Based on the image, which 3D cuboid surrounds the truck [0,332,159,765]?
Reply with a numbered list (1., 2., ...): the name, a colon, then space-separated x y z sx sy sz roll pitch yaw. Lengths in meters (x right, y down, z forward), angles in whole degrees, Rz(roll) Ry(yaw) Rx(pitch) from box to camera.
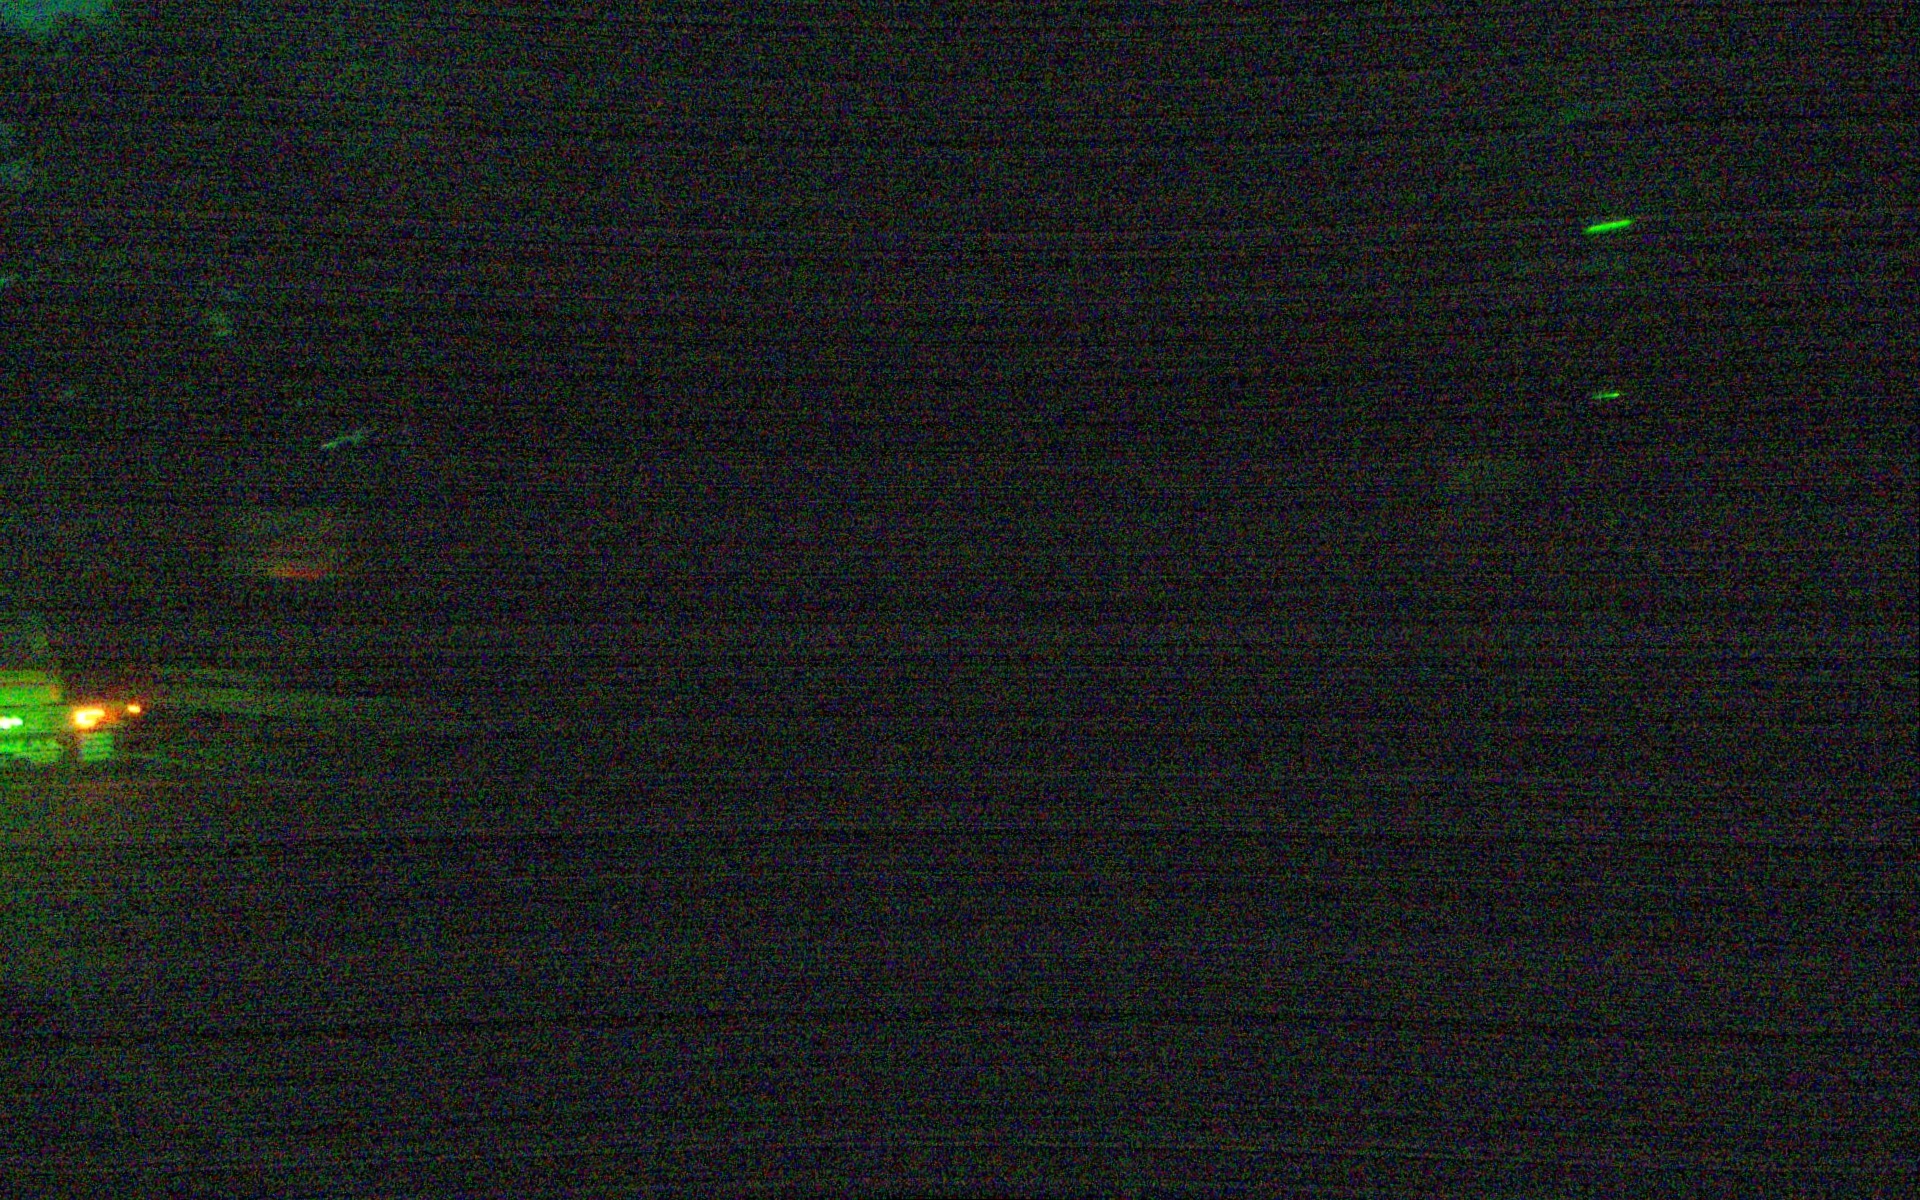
1. truck: -14.752 -0.368 12.994 12.953 4.158 2.683 -1 -2 32
